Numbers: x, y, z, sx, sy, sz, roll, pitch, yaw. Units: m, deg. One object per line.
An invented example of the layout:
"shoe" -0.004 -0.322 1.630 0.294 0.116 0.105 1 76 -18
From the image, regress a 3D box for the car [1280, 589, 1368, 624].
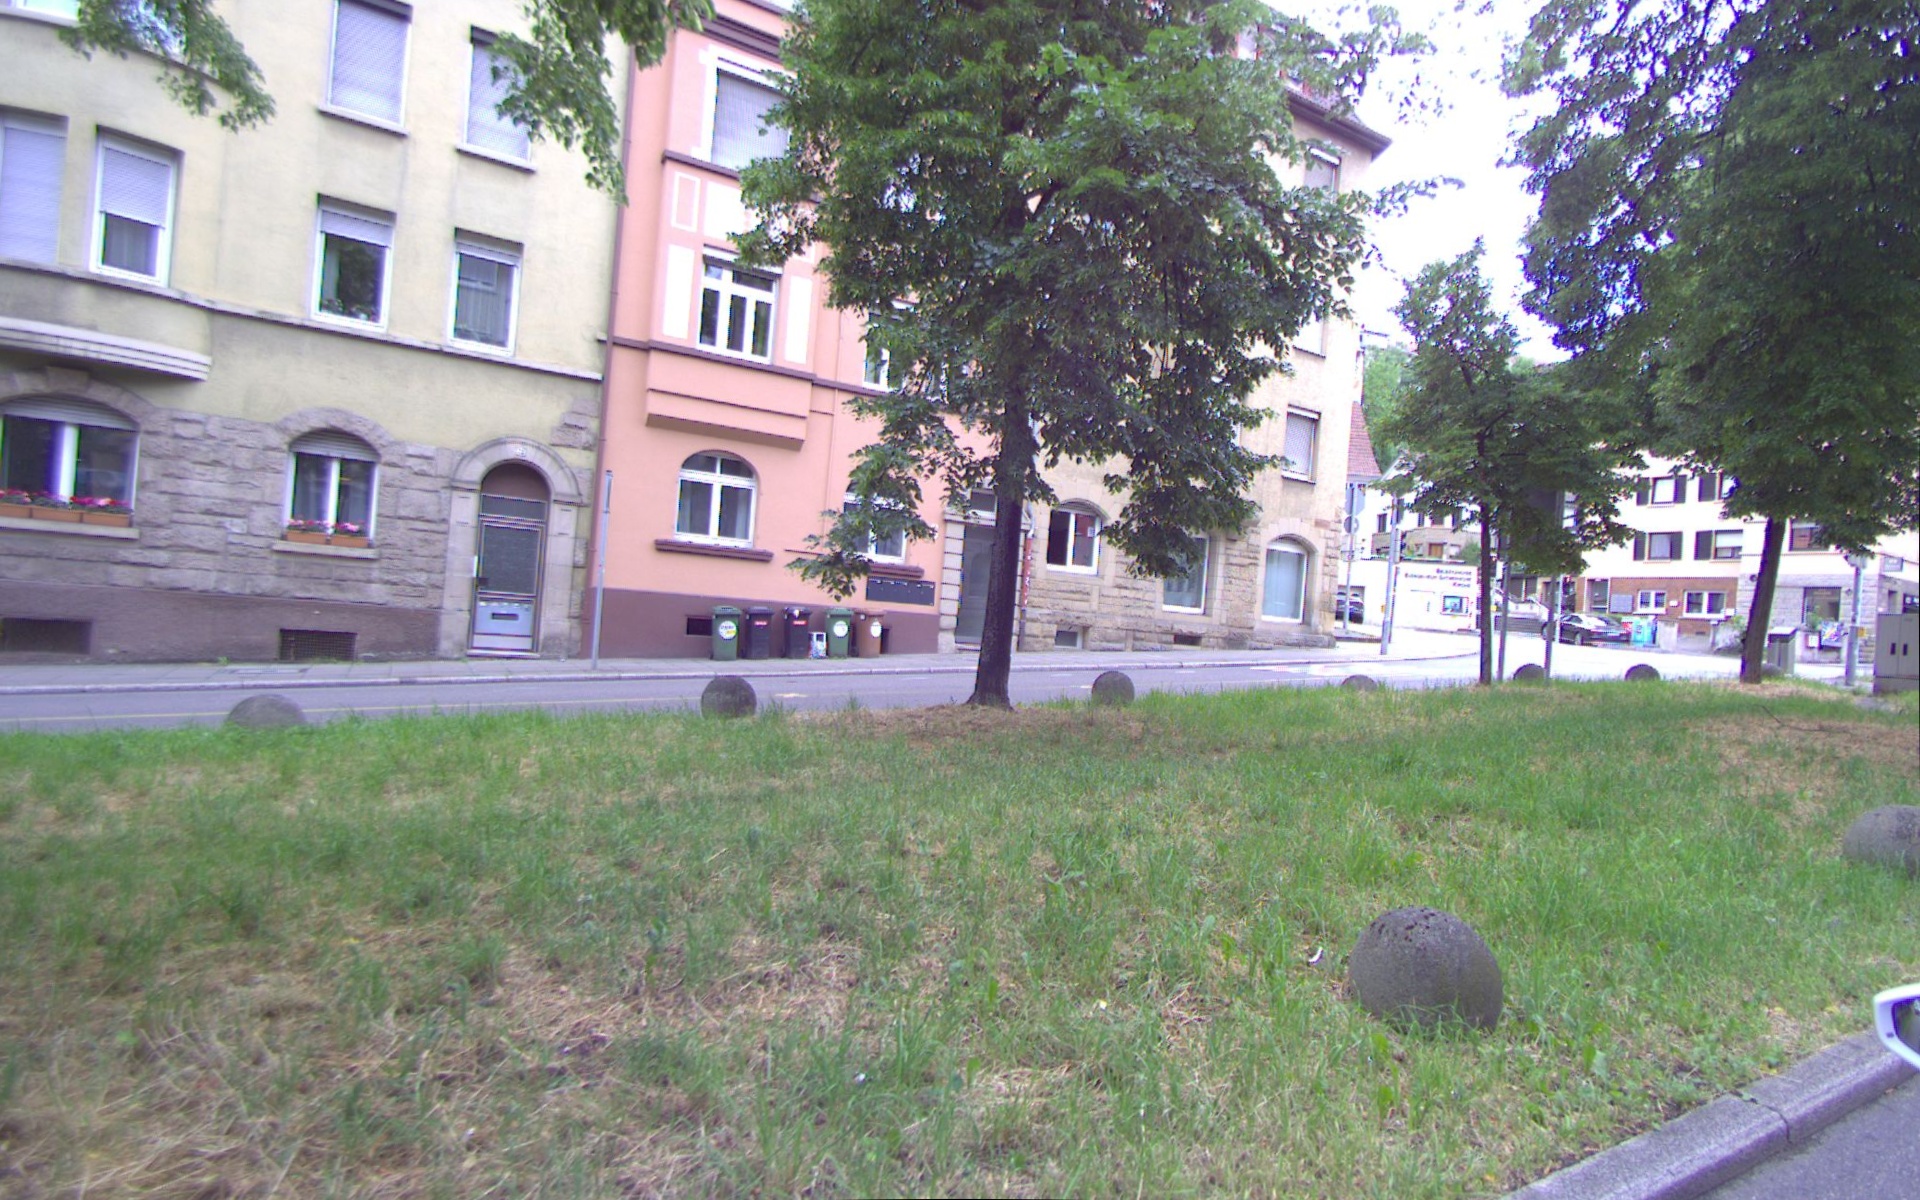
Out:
"car" 17.769 0.310 49.218 3.920 1.530 1.800 2 1 17

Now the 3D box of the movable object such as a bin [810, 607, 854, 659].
"movable object such as a bin" -2.379 0.607 18.668 0.595 0.916 0.605 1 2 -33

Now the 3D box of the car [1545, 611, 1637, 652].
"car" 28.946 1.414 46.202 1.845 1.687 4.002 3 -1 4

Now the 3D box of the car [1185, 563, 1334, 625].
"car" 11.559 -0.259 38.963 5.102 2.092 1.988 4 2 38

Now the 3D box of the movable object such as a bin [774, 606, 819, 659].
"movable object such as a bin" -2.976 0.582 18.289 0.595 0.916 0.605 1 2 -33

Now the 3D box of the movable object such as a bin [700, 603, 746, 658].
"movable object such as a bin" -4.156 0.531 17.594 0.595 0.916 0.605 1 2 -33

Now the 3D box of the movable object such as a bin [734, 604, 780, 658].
"movable object such as a bin" -3.633 0.555 17.940 0.595 0.916 0.605 1 2 -33

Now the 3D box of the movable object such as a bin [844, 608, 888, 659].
"movable object such as a bin" -1.776 0.627 19.026 0.595 0.916 0.605 1 2 -33
